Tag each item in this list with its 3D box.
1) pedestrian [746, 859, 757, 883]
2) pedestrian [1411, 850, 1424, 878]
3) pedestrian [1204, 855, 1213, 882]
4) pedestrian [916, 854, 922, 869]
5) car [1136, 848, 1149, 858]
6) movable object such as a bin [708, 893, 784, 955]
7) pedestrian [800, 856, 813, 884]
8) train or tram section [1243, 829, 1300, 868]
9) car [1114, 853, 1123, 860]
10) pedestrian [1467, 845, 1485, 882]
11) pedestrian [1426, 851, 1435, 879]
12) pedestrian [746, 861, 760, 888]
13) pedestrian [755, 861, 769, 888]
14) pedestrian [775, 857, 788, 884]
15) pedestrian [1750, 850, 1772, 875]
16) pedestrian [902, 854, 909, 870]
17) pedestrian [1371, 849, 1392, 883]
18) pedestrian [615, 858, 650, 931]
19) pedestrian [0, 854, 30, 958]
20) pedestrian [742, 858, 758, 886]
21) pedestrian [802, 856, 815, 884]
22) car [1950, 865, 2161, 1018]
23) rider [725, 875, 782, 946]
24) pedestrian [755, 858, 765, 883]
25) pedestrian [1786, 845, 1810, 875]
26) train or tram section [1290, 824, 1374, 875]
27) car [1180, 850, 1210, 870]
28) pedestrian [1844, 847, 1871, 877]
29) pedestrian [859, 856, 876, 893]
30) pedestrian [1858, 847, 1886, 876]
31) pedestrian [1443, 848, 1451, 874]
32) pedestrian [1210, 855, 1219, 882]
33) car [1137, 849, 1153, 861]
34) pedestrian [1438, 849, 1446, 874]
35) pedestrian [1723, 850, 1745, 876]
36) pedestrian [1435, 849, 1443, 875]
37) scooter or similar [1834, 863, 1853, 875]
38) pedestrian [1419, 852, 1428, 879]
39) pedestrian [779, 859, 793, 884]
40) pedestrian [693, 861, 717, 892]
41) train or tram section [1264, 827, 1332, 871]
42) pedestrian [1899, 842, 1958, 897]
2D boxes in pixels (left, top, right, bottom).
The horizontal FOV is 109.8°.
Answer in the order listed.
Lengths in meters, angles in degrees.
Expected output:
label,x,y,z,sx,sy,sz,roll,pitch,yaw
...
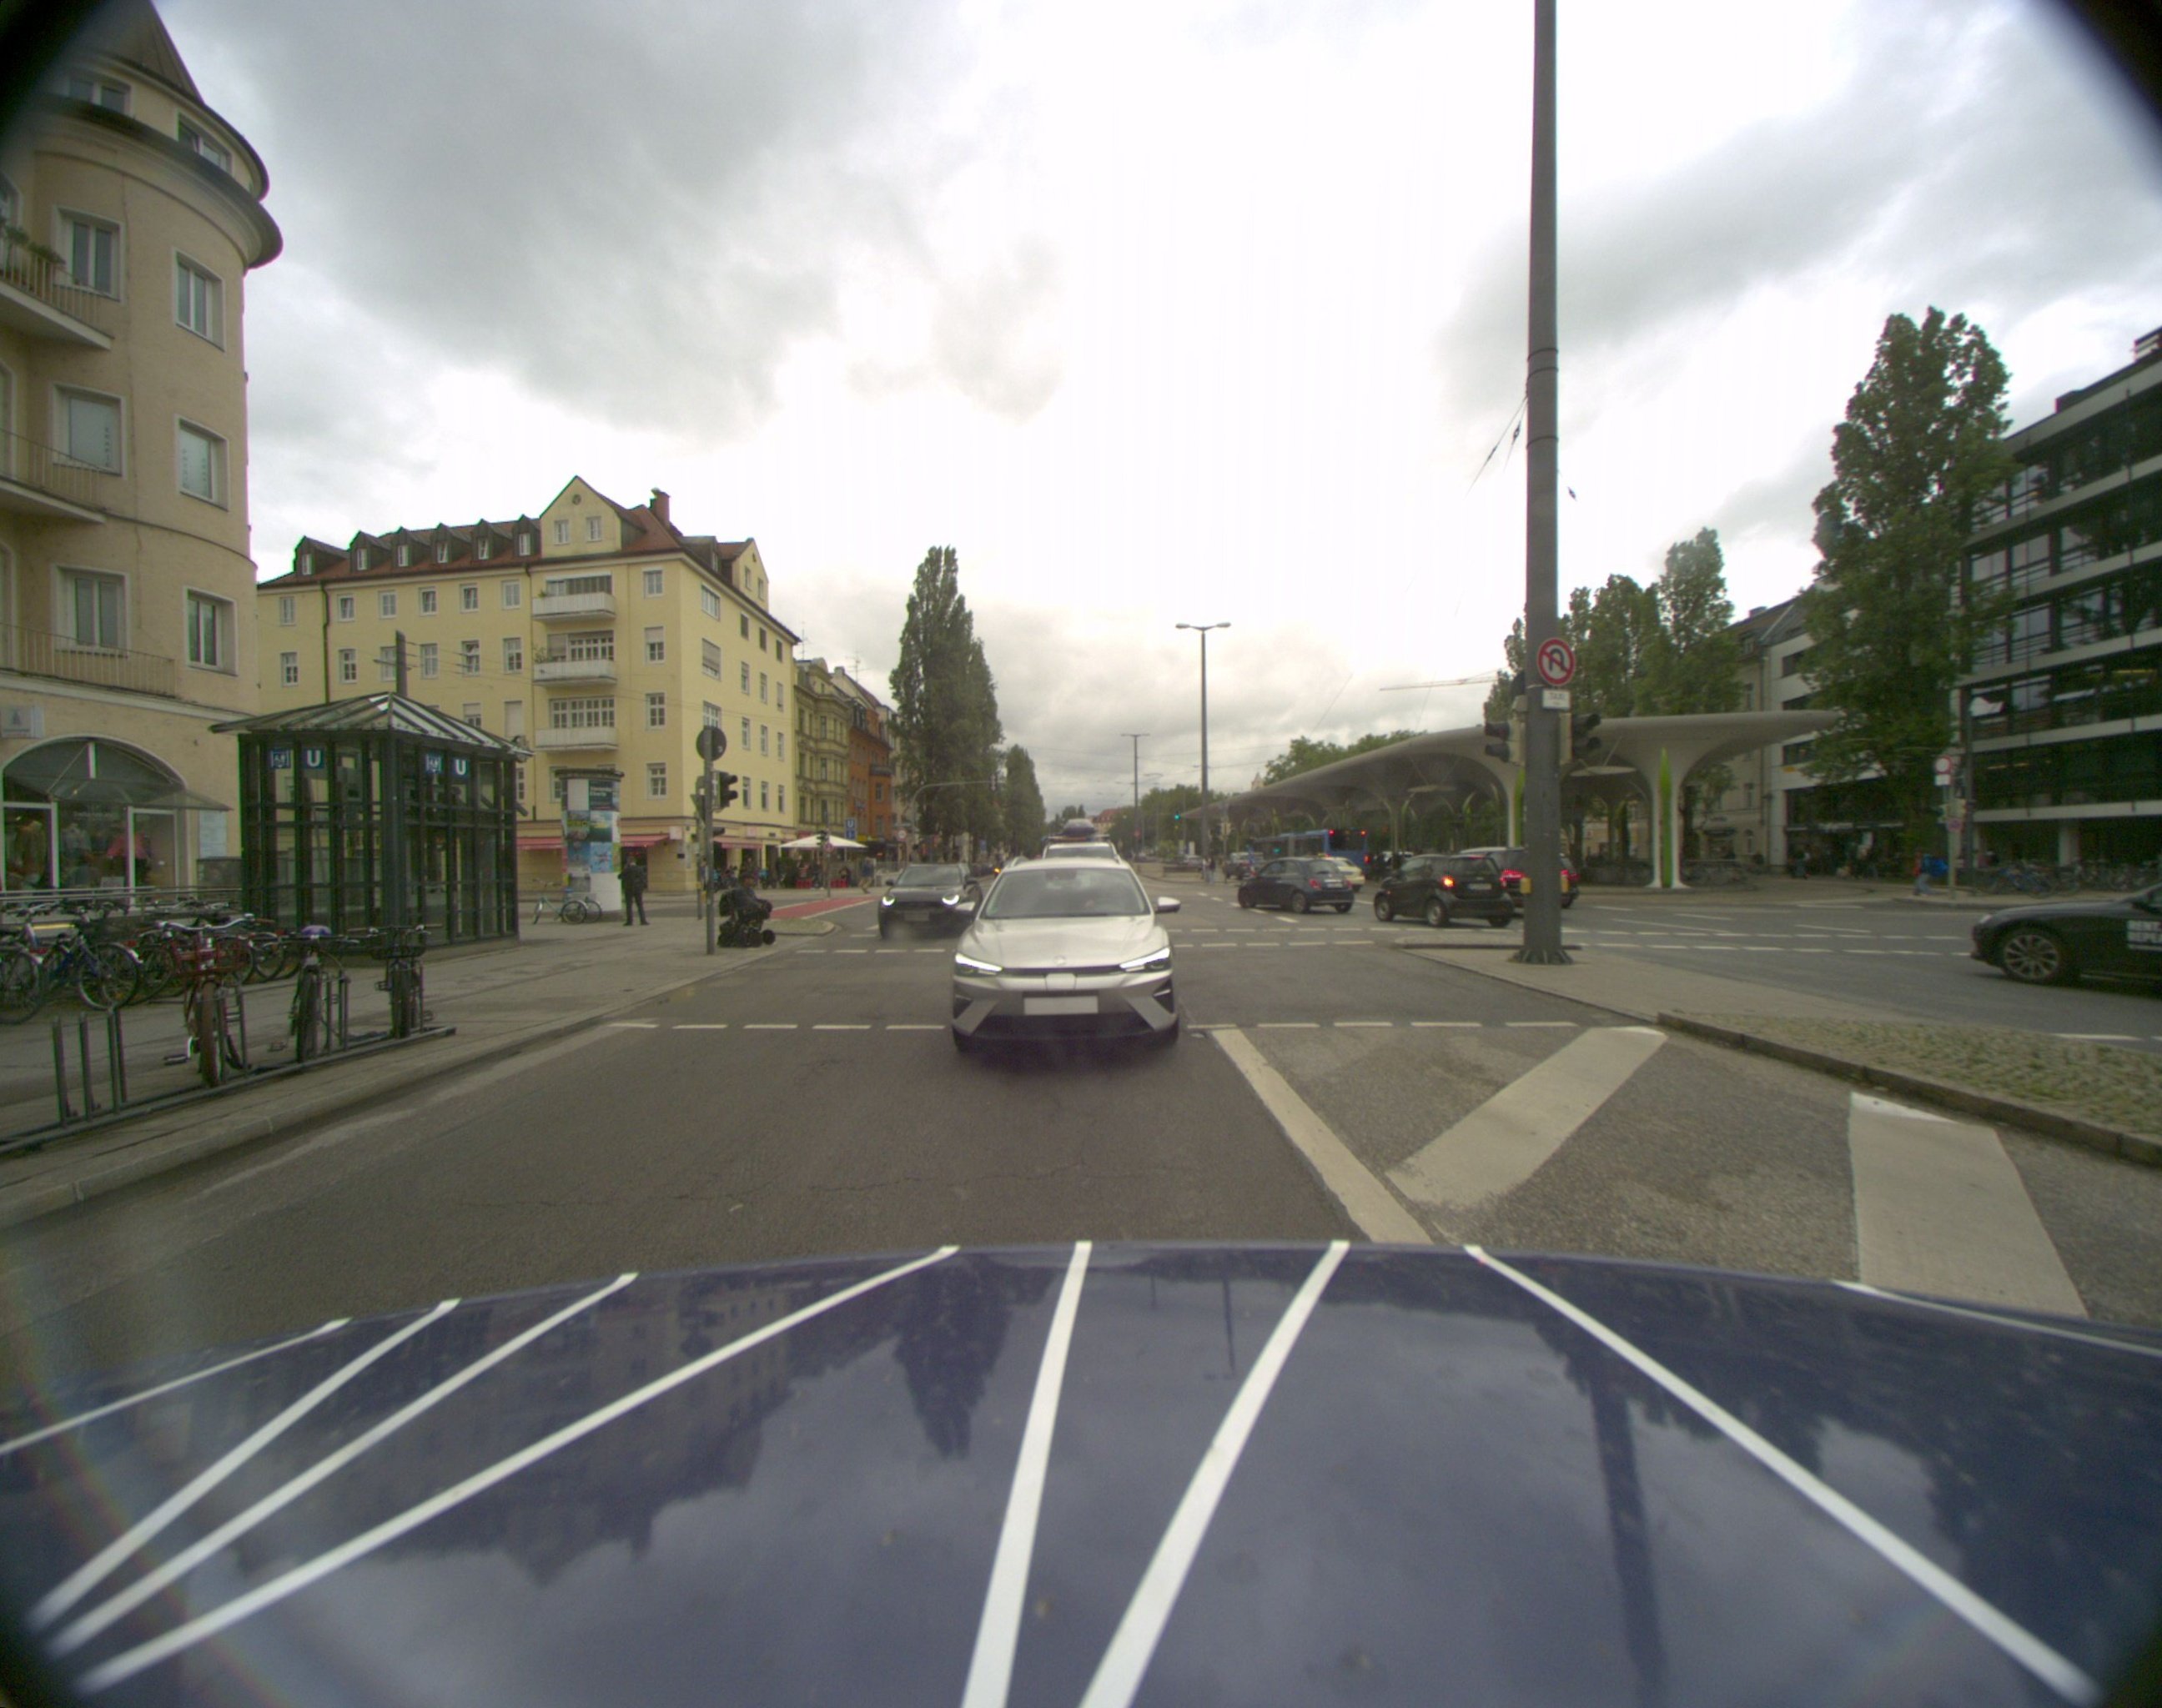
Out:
label,x,y,z,sx,sy,sz,roll,pitch,yaw
pedestrian,-20.337,1.044,46.867,0.529,1.517,0.584,-1,1,-18
pedestrian,18.474,0.546,41.705,0.489,1.493,0.426,-1,1,-12
pedestrian,6.636,0.750,39.574,0.357,1.410,0.380,-1,1,-1
pedestrian,-17.439,0.787,81.820,0.552,1.675,0.585,0,1,1
car,10.064,-0.256,124.776,1.848,1.529,3.999,-2,1,0
movable object such as a bin,-6.168,1.271,14.034,1.089,1.056,0.747,1,1,-3
pedestrian,-16.941,0.993,46.941,0.552,1.675,0.585,-1,1,1
train or tram section,15.675,-0.414,63.113,2.840,2.983,7.407,-1,0,0
car,8.468,0.613,173.082,1.848,1.529,4.000,0,0,0
pedestrian,19.803,0.465,38.115,0.666,1.840,0.789,0,1,20
pedestrian,18.820,0.603,40.925,0.335,1.493,0.317,-1,1,-9
pedestrian,-18.660,1.164,43.267,0.528,1.517,0.585,-1,1,1
pedestrian,-18.154,1.144,43.283,0.528,1.517,0.585,-1,1,1
pedestrian,-18.848,1.058,47.781,0.552,1.675,0.585,-1,1,1
pedestrian,45.039,0.562,50.361,0.834,1.689,0.906,0,1,22
pedestrian,-18.806,0.841,81.511,0.552,1.675,0.585,0,1,1
pedestrian,15.249,0.604,38.582,0.711,1.738,0.788,0,0,-1
pedestrian,-11.127,0.990,18.864,0.641,1.767,0.609,-2,1,-23
pedestrian,-18.414,0.878,12.726,0.618,1.729,0.644,-1,2,-1
pedestrian,-19.716,1.041,45.218,0.686,1.657,0.621,-1,1,-44
pedestrian,-16.564,0.988,46.158,0.552,1.675,0.585,-1,1,1
car,11.287,0.849,6.700,1.998,1.408,4.615,-1,0,1
rider,-6.029,1.030,14.021,0.732,1.234,0.732,1,1,-3
pedestrian,-19.821,1.023,46.952,0.529,1.517,0.584,-1,1,-18
pedestrian,42.256,0.354,44.786,0.951,1.762,0.985,0,1,37
train or tram section,15.759,-0.247,48.285,2.840,2.983,7.407,-1,0,0
car,9.504,0.498,63.467,1.848,1.529,3.999,-2,1,0
pedestrian,45.842,0.477,44.853,0.800,1.714,0.827,0,1,11
pedestrian,-10.433,0.985,37.162,0.732,1.792,0.710,-1,2,-9
pedestrian,46.809,0.438,44.981,0.800,1.714,0.827,0,1,11
pedestrian,19.683,0.383,40.810,0.303,1.369,0.257,0,1,-3
pedestrian,6.880,0.746,39.210,0.357,1.410,0.380,-1,1,-1
car,8.552,0.078,101.726,1.848,1.529,3.999,-2,1,0
pedestrian,19.356,0.397,40.692,0.303,1.369,0.257,0,1,-3
pedestrian,42.789,0.561,49.808,0.834,1.689,0.906,0,1,22
pedestrian,19.067,0.411,40.469,0.303,1.369,0.270,0,1,-2
scooter or similar,45.825,0.906,45.644,0.519,0.711,0.681,0,0,11
pedestrian,18.506,0.614,41.064,0.320,1.493,0.317,-1,1,-9
pedestrian,-17.804,1.044,45.893,0.552,1.529,0.668,-1,1,1
pedestrian,-19.066,1.131,38.534,0.715,1.558,0.832,-2,1,0
train or tram section,15.730,-0.329,55.705,2.840,2.983,7.407,-1,0,0
pedestrian,27.891,0.511,25.020,0.861,1.767,0.980,-1,0,1
